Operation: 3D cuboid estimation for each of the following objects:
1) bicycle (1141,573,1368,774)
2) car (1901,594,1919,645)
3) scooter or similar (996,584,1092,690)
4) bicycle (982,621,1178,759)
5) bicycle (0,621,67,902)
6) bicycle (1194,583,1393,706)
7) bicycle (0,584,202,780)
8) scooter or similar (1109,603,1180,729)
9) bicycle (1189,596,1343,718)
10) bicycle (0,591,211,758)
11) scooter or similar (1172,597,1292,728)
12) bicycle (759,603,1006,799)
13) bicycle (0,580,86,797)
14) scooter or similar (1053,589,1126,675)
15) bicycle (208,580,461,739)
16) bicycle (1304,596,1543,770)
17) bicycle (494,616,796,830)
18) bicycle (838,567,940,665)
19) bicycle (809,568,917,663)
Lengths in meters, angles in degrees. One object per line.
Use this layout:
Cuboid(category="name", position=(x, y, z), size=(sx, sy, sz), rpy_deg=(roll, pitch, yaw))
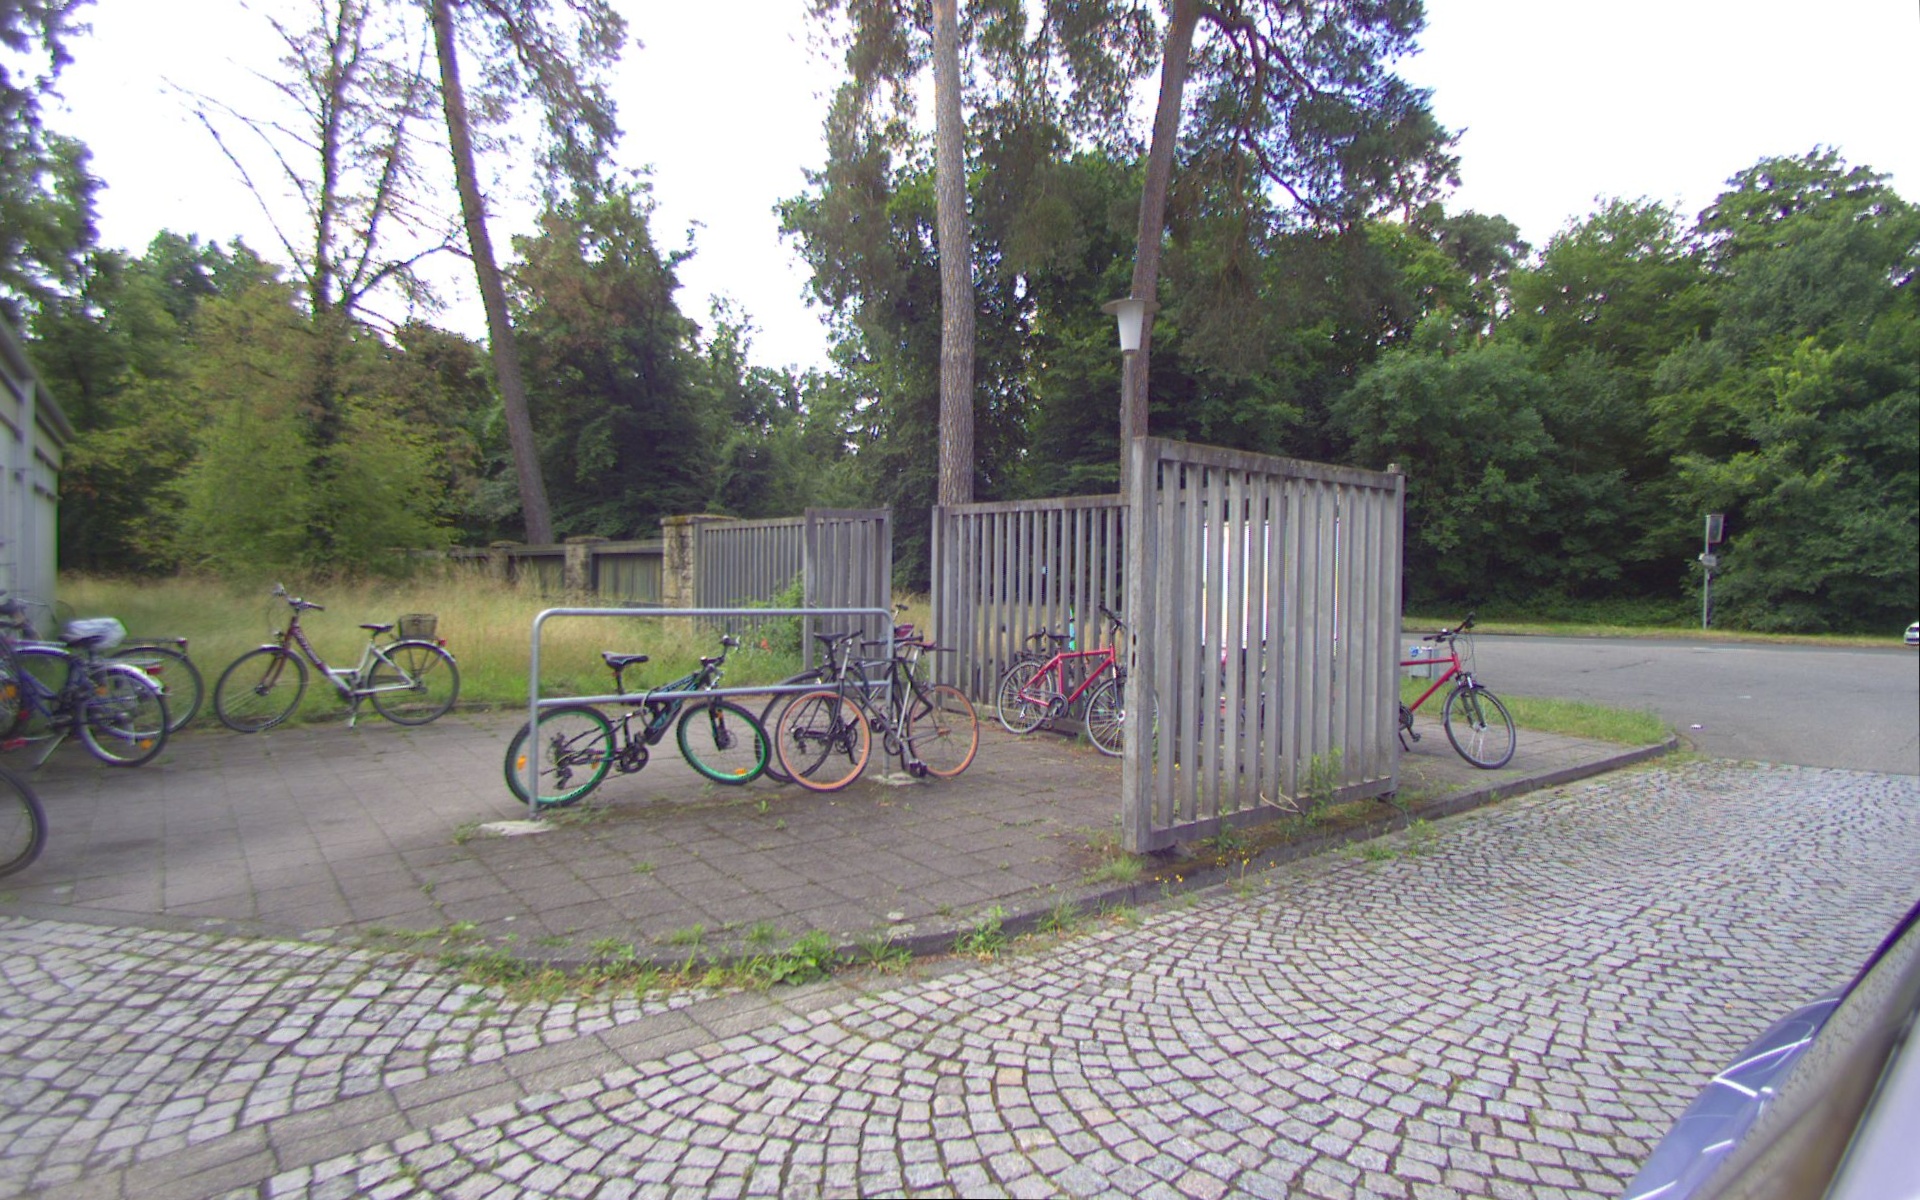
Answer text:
Cuboid(category="bicycle", position=(2.348, 0.516, 8.337), size=(0.506, 1.434, 1.908), rpy_deg=(-1, 3, -34))
Cuboid(category="car", position=(29.454, 0.629, 27.446), size=(5.344, 1.395, 1.988), rpy_deg=(2, 1, 20))
Cuboid(category="scooter or similar", position=(1.246, 0.539, 15.153), size=(0.520, 1.434, 1.252), rpy_deg=(14, -7, -37))
Cuboid(category="bicycle", position=(0.981, 0.720, 8.825), size=(0.449, 0.980, 1.951), rpy_deg=(0, 2, -38))
Cuboid(category="bicycle", position=(-4.593, 0.656, 3.905), size=(1.683, 1.086, 0.731), rpy_deg=(0, 2, -40))
Cuboid(category="bicycle", position=(3.871, 0.468, 11.918), size=(0.625, 1.255, 2.170), rpy_deg=(0, 2, -43))
Cuboid(category="bicycle", position=(-5.884, 0.505, 6.617), size=(1.624, 1.132, 0.436), rpy_deg=(3, 3, 6))
Cuboid(category="scooter or similar", position=(1.888, 0.630, 10.254), size=(0.433, 1.165, 1.242), rpy_deg=(1, 1, 23))
Cuboid(category="bicycle", position=(3.311, 0.586, 11.108), size=(0.610, 1.177, 1.613), rpy_deg=(2, 1, -28))
Cuboid(category="bicycle", position=(-6.308, 0.497, 7.179), size=(1.568, 1.097, 0.435), rpy_deg=(-1, 2, -42))
Cuboid(category="scooter or similar", position=(2.861, 0.623, 10.754), size=(0.378, 1.261, 1.285), rpy_deg=(1, 2, -32))
Cuboid(category="bicycle", position=(-0.492, 0.638, 6.964), size=(1.685, 1.185, 0.502), rpy_deg=(2, 1, -40))
Cuboid(category="bicycle", position=(-6.105, 0.470, 6.062), size=(1.628, 1.185, 0.435), rpy_deg=(3, 3, 13))
Cuboid(category="scooter or similar", position=(2.035, 0.482, 15.928), size=(0.431, 1.243, 1.088), rpy_deg=(-2, 4, -44))
Cuboid(category="bicycle", position=(-4.977, 0.437, 8.170), size=(1.689, 1.185, 0.437), rpy_deg=(-1, 2, -27))
Cuboid(category="bicycle", position=(4.009, 0.655, 8.864), size=(0.661, 1.293, 1.737), rpy_deg=(0, 3, -43))
Cuboid(category="bicycle", position=(-1.860, 0.656, 6.084), size=(1.566, 1.070, 0.731), rpy_deg=(0, 2, -40))
Cuboid(category="bicycle", position=(-1.081, 0.239, 15.792), size=(0.585, 1.435, 1.776), rpy_deg=(2, 0, 35))
Cuboid(category="bicycle", position=(-1.518, 0.233, 16.225), size=(0.574, 1.435, 1.958), rpy_deg=(2, 1, 35))
